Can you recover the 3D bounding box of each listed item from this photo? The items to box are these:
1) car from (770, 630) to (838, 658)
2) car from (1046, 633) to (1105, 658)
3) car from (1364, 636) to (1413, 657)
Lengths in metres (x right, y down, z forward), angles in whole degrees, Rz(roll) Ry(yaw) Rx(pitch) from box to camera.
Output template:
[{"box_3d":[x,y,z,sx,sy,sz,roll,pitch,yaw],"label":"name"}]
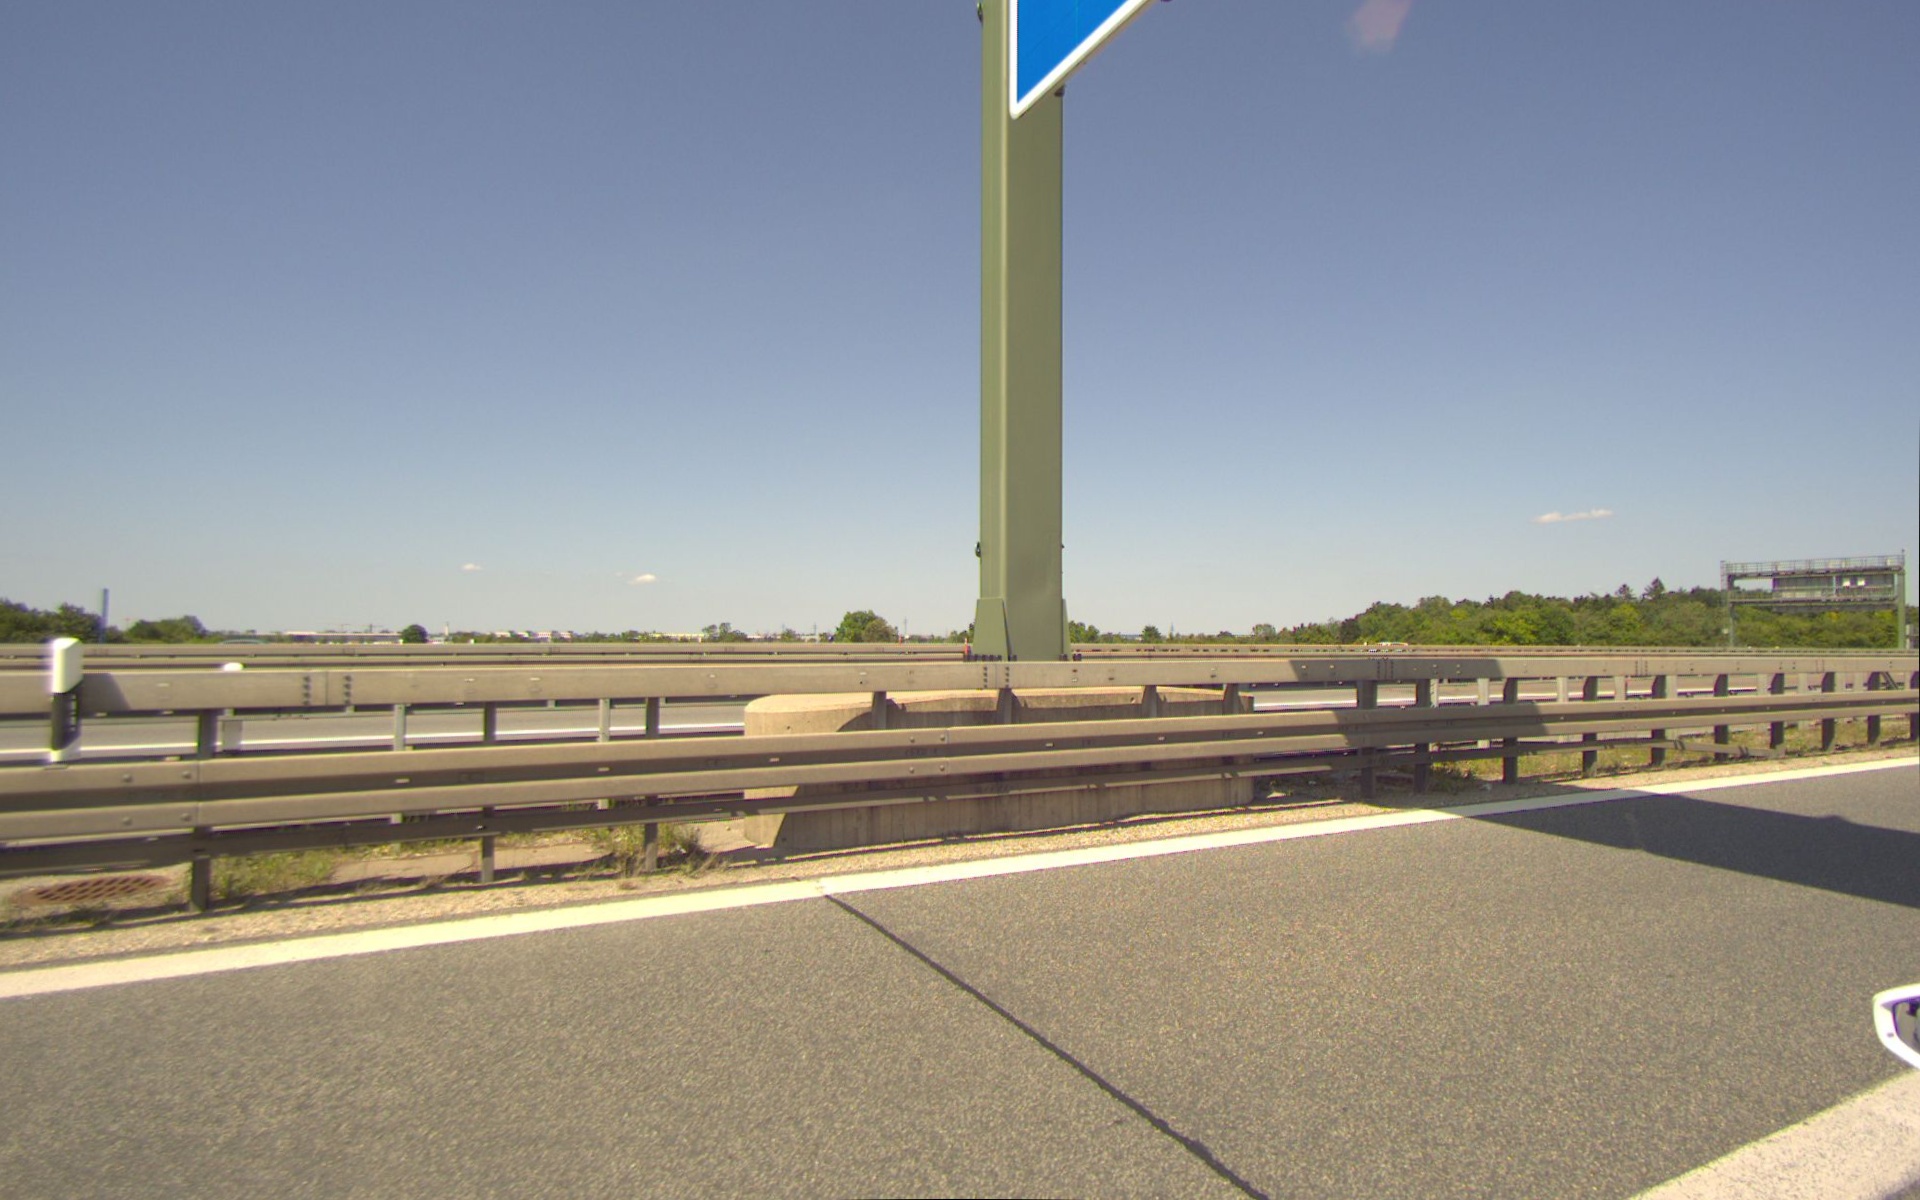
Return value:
[{"box_3d":[-8.518,2.429,54.802,3.304,1.371,1.571,4,-3,-29],"label":"car"},{"box_3d":[7.084,2.773,61.629,3.304,1.371,1.571,4,-3,-29],"label":"car"},{"box_3d":[30.548,3.326,71.598,3.304,1.371,1.571,4,-3,-29],"label":"car"}]
